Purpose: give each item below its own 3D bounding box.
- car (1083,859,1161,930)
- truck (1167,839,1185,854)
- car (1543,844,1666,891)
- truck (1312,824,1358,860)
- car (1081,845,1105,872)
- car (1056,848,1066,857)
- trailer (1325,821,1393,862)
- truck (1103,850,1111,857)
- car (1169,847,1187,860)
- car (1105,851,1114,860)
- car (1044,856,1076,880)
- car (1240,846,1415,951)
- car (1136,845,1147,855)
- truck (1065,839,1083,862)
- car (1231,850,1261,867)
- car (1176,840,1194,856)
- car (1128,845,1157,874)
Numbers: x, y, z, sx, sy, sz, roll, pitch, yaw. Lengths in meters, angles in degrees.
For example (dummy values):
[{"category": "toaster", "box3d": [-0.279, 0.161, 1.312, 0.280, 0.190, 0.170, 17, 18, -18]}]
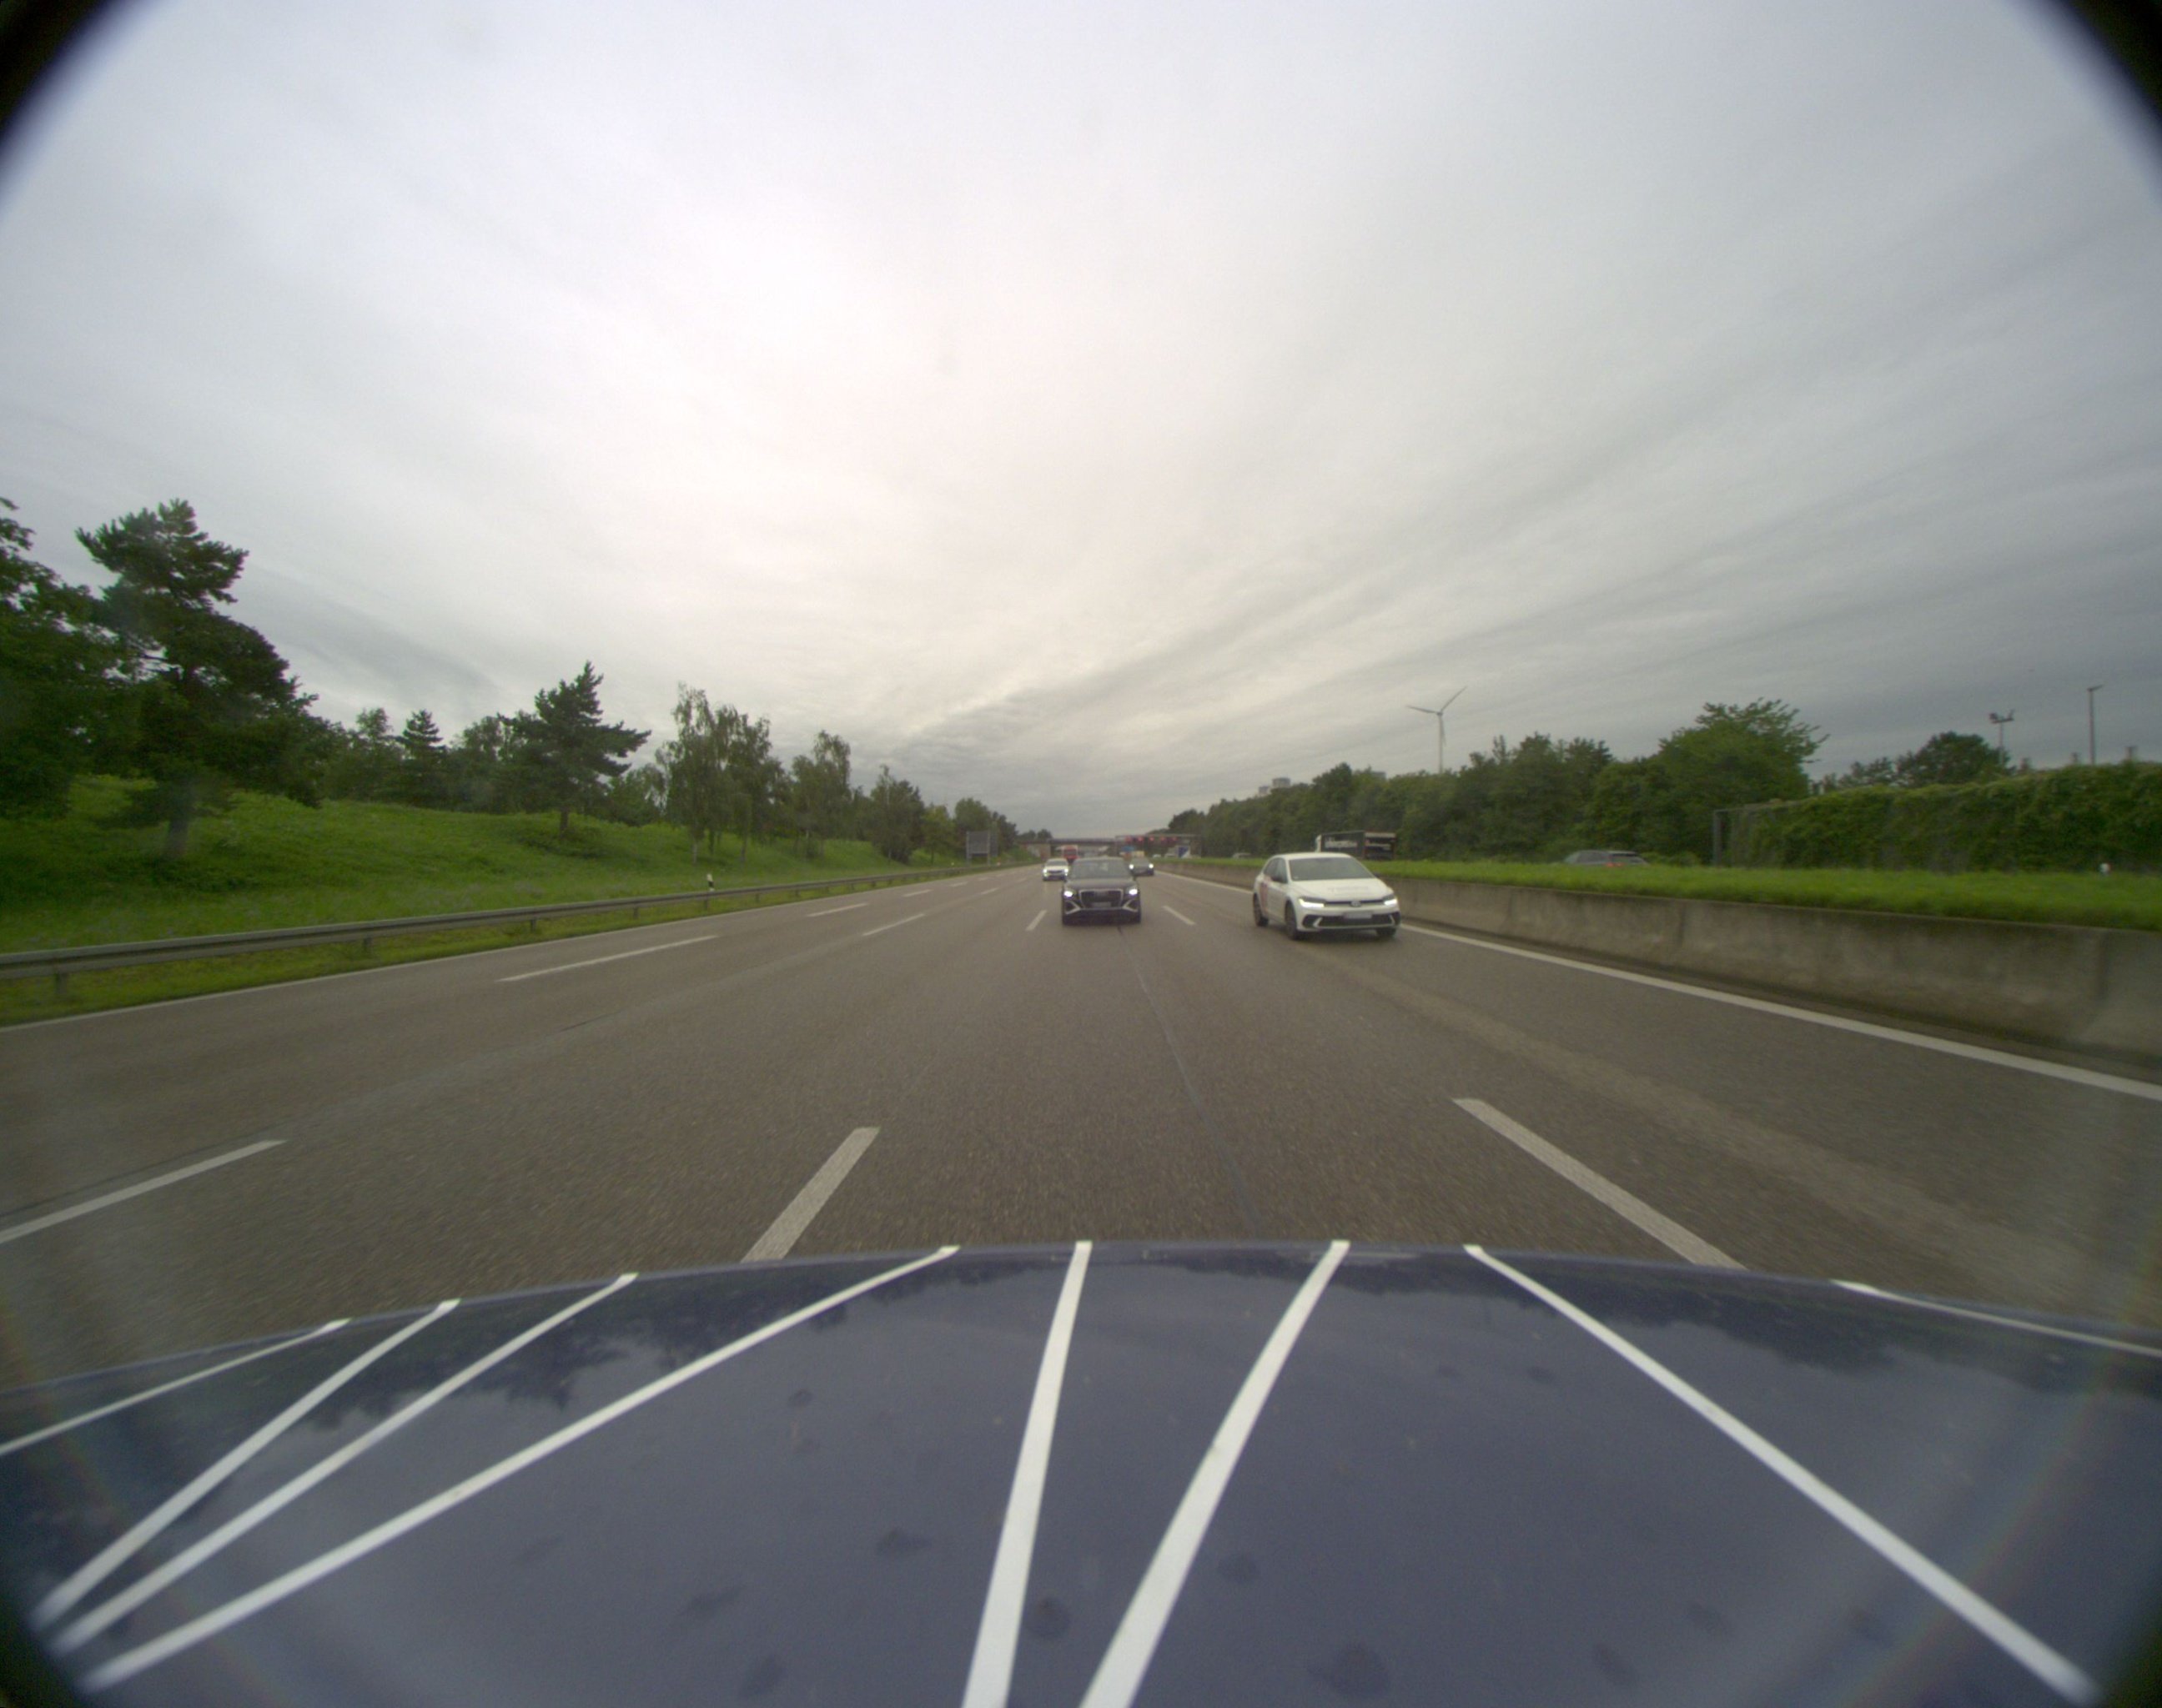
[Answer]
[{"category": "car", "box3d": [0.891, 0.873, 18.009, 1.616, 1.403, 3.326, -2, 1, 0]}, {"category": "truck", "box3d": [21.875, -1.679, 175.931, 2.891, 3.202, 11.358, -2, 1, 2]}, {"category": "car", "box3d": [20.326, 0.458, 29.754, 1.787, 1.623, 4.293, -2, 1, 0]}, {"category": "truck", "box3d": [24.427, -1.163, 73.445, 2.321, 3.254, 6.581, -2, 1, 1]}, {"category": "car", "box3d": [1.325, 0.427, 84.792, 2.459, 2.726, 8.265, -2, 1, 1]}, {"category": "car", "box3d": [-4.744, -0.460, 181.787, 1.998, 2.002, 4.000, -2, 1, 2]}, {"category": "trailer", "box3d": [24.276, -1.064, 66.927, 2.312, 3.271, 10.562, -2, 1, 2]}, {"category": "truck", "box3d": [7.062, -0.133, 208.161, 1.998, 2.002, 4.000, -2, 0, 1]}, {"category": "car", "box3d": [15.154, -0.097, 119.342, 2.126, 2.002, 4.519, -2, 0, -1]}, {"category": "car", "box3d": [5.702, 0.304, 152.989, 1.735, 1.696, 3.538, -2, 1, 1]}, {"category": "car", "box3d": [-1.397, 0.902, 52.014, 1.998, 1.555, 4.910, 0, 0, 1]}, {"category": "car", "box3d": [4.310, 0.681, 14.130, 1.757, 1.608, 4.663, -1, 0, 0]}, {"category": "car", "box3d": [15.188, -1.063, 190.413, 2.064, 2.371, 7.322, -2, 1, 0]}, {"category": "truck", "box3d": [-1.146, -0.637, 131.649, 2.836, 3.634, 10.670, -2, 1, 1]}, {"category": "car", "box3d": [16.281, 0.451, 75.164, 1.998, 1.599, 4.741, -2, 0, 1]}, {"category": "car", "box3d": [18.419, -1.070, 135.288, 2.327, 2.719, 7.315, -2, 1, 1]}, {"category": "car", "box3d": [4.411, 0.369, 54.799, 1.725, 2.002, 3.851, -2, 1, 1]}]
